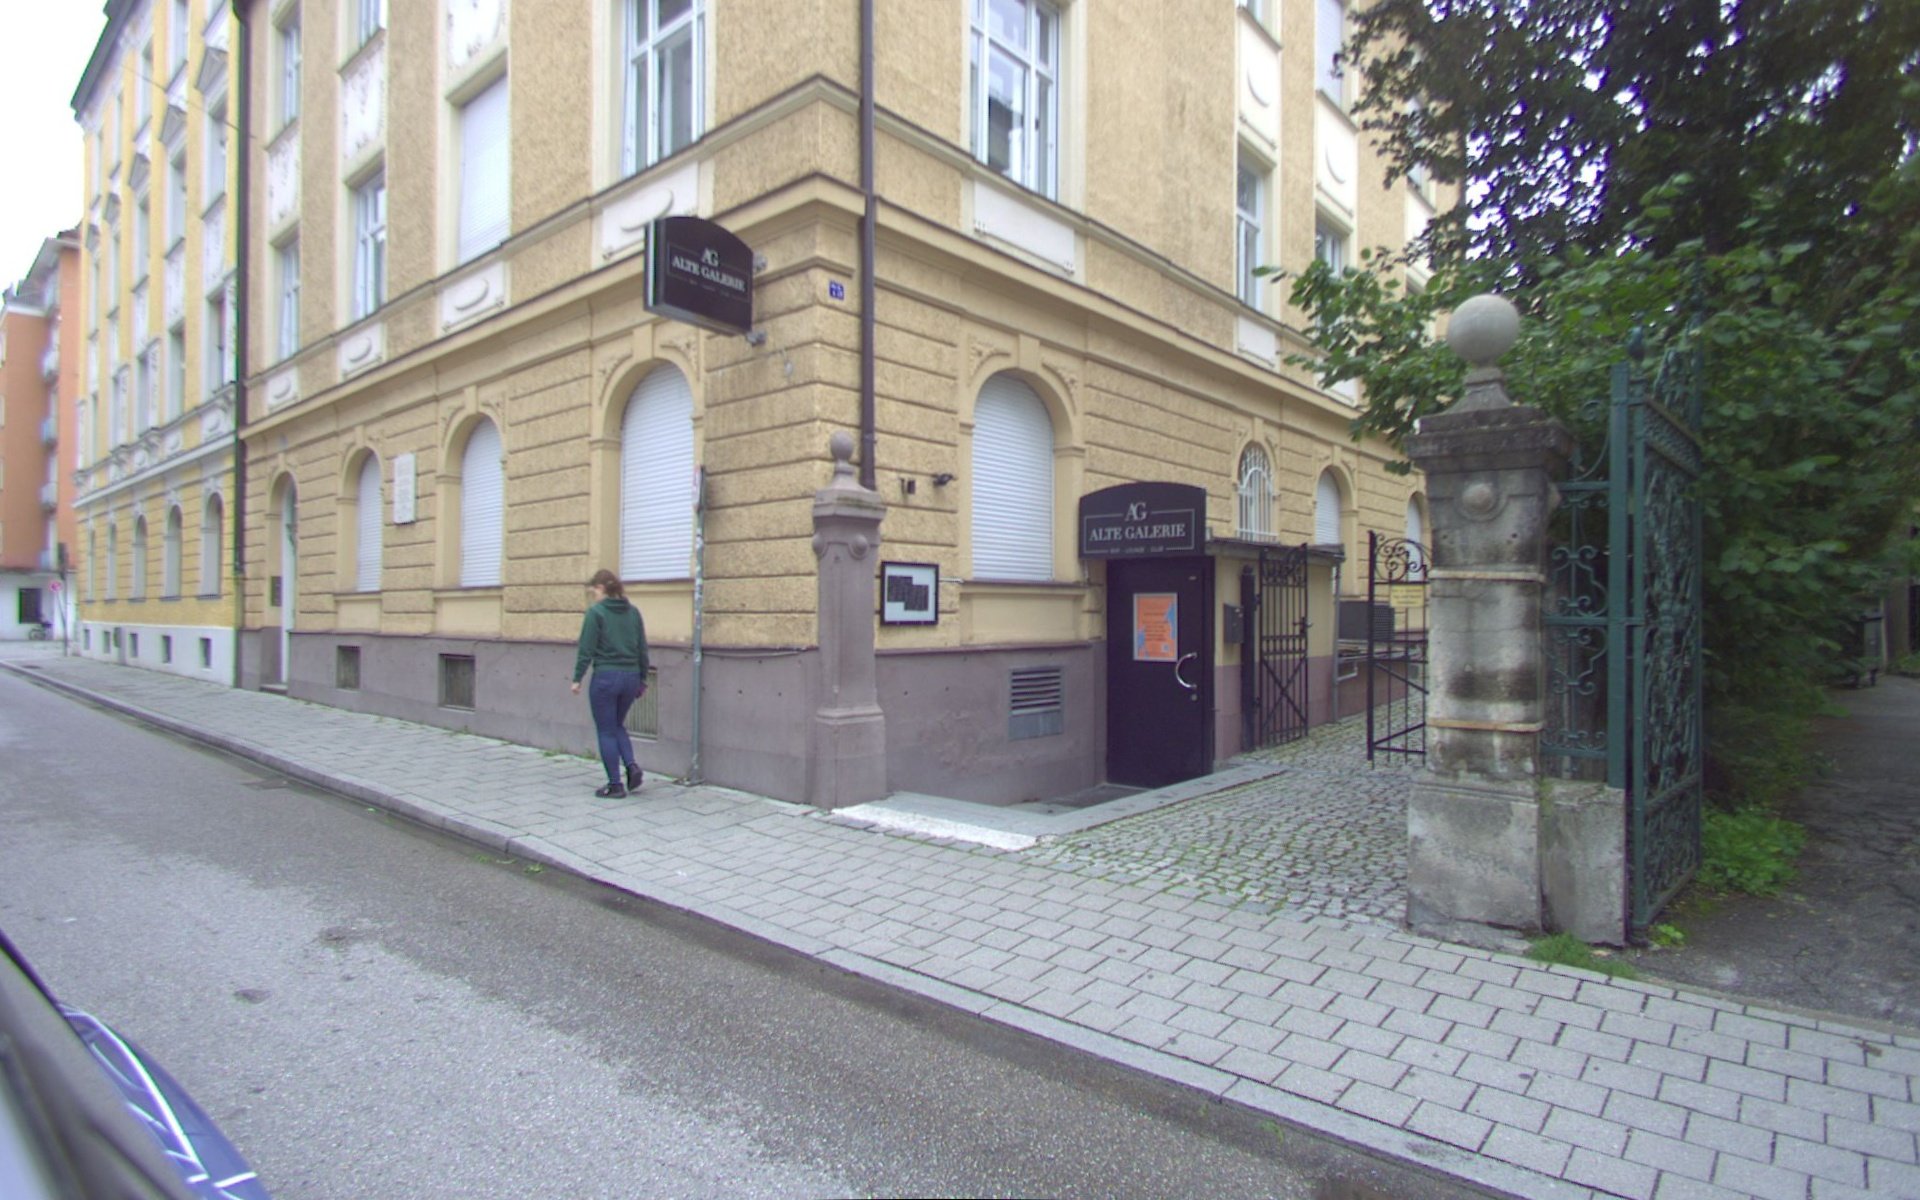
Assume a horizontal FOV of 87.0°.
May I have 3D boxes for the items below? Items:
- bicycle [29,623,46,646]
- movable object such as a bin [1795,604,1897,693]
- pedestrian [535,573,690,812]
[{"bbox_3d":[-39.030,1.449,42.812,1.539,0.944,0.386,-1,-2,42],"label":"bicycle"},{"bbox_3d":[14.745,0.783,16.843,1.209,1.414,1.109,1,-2,-41],"label":"movable object such as a bin"},{"bbox_3d":[-2.652,0.649,7.712,0.929,1.678,0.705,-1,1,41],"label":"pedestrian"}]
